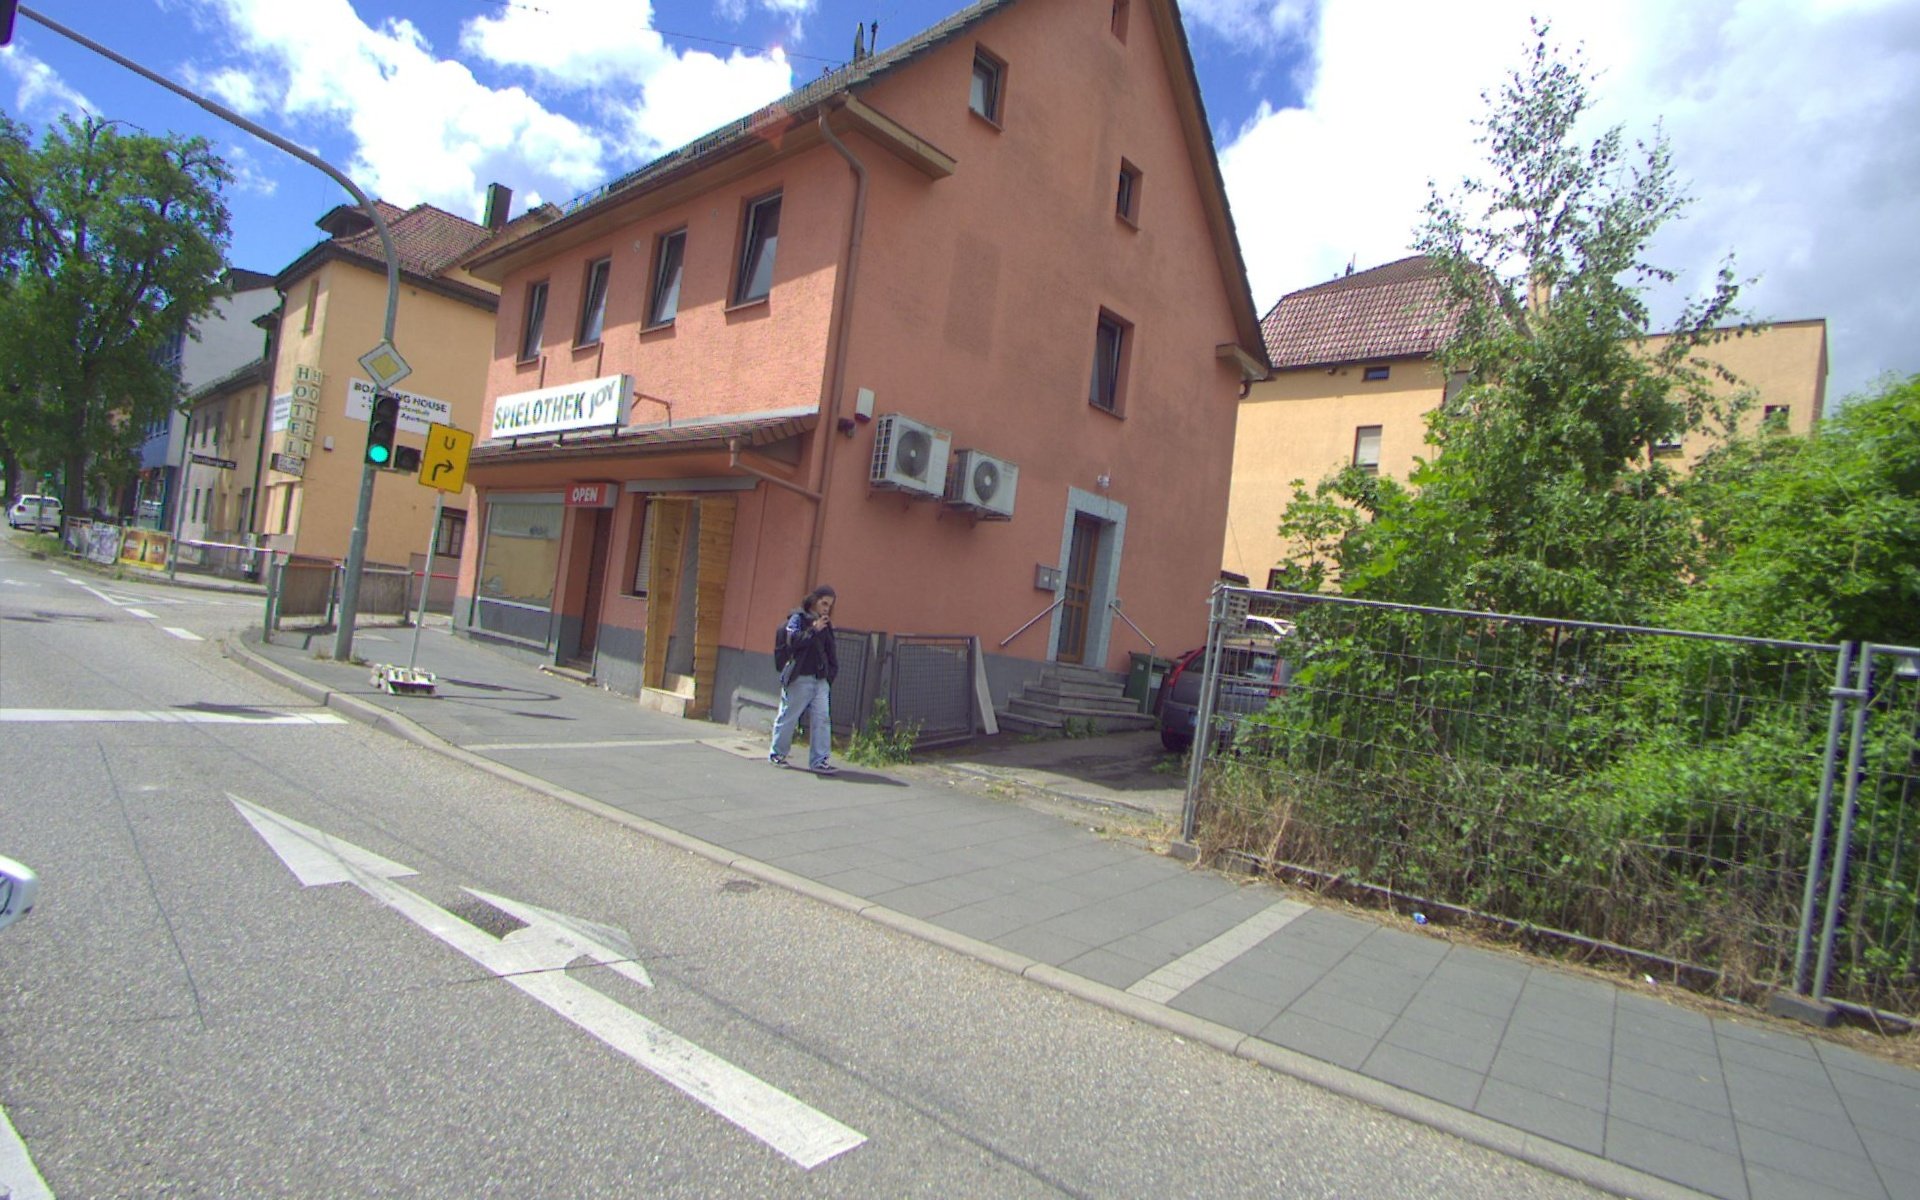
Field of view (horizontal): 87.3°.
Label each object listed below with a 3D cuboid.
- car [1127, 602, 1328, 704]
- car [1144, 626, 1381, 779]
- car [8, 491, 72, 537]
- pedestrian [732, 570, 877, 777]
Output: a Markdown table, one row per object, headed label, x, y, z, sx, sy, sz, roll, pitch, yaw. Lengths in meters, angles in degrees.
| label | x | y | z | sx | sy | sz | roll | pitch | yaw |
| --- | --- | --- | --- | --- | --- | --- | --- | --- | --- |
| car | 6.218 | 1.217 | 23.640 | 3.947 | 1.804 | 1.990 | 7 | -1 | 44 |
| car | 3.800 | 1.196 | 12.474 | 1.627 | 1.516 | 2.796 | 7 | 2 | 43 |
| car | -39.403 | -3.672 | 43.069 | 1.782 | 1.615 | 3.950 | 7 | -1 | -45 |
| pedestrian | -1.363 | 0.635 | 8.815 | 0.767 | 1.663 | 0.762 | 9 | 1 | 43 |
